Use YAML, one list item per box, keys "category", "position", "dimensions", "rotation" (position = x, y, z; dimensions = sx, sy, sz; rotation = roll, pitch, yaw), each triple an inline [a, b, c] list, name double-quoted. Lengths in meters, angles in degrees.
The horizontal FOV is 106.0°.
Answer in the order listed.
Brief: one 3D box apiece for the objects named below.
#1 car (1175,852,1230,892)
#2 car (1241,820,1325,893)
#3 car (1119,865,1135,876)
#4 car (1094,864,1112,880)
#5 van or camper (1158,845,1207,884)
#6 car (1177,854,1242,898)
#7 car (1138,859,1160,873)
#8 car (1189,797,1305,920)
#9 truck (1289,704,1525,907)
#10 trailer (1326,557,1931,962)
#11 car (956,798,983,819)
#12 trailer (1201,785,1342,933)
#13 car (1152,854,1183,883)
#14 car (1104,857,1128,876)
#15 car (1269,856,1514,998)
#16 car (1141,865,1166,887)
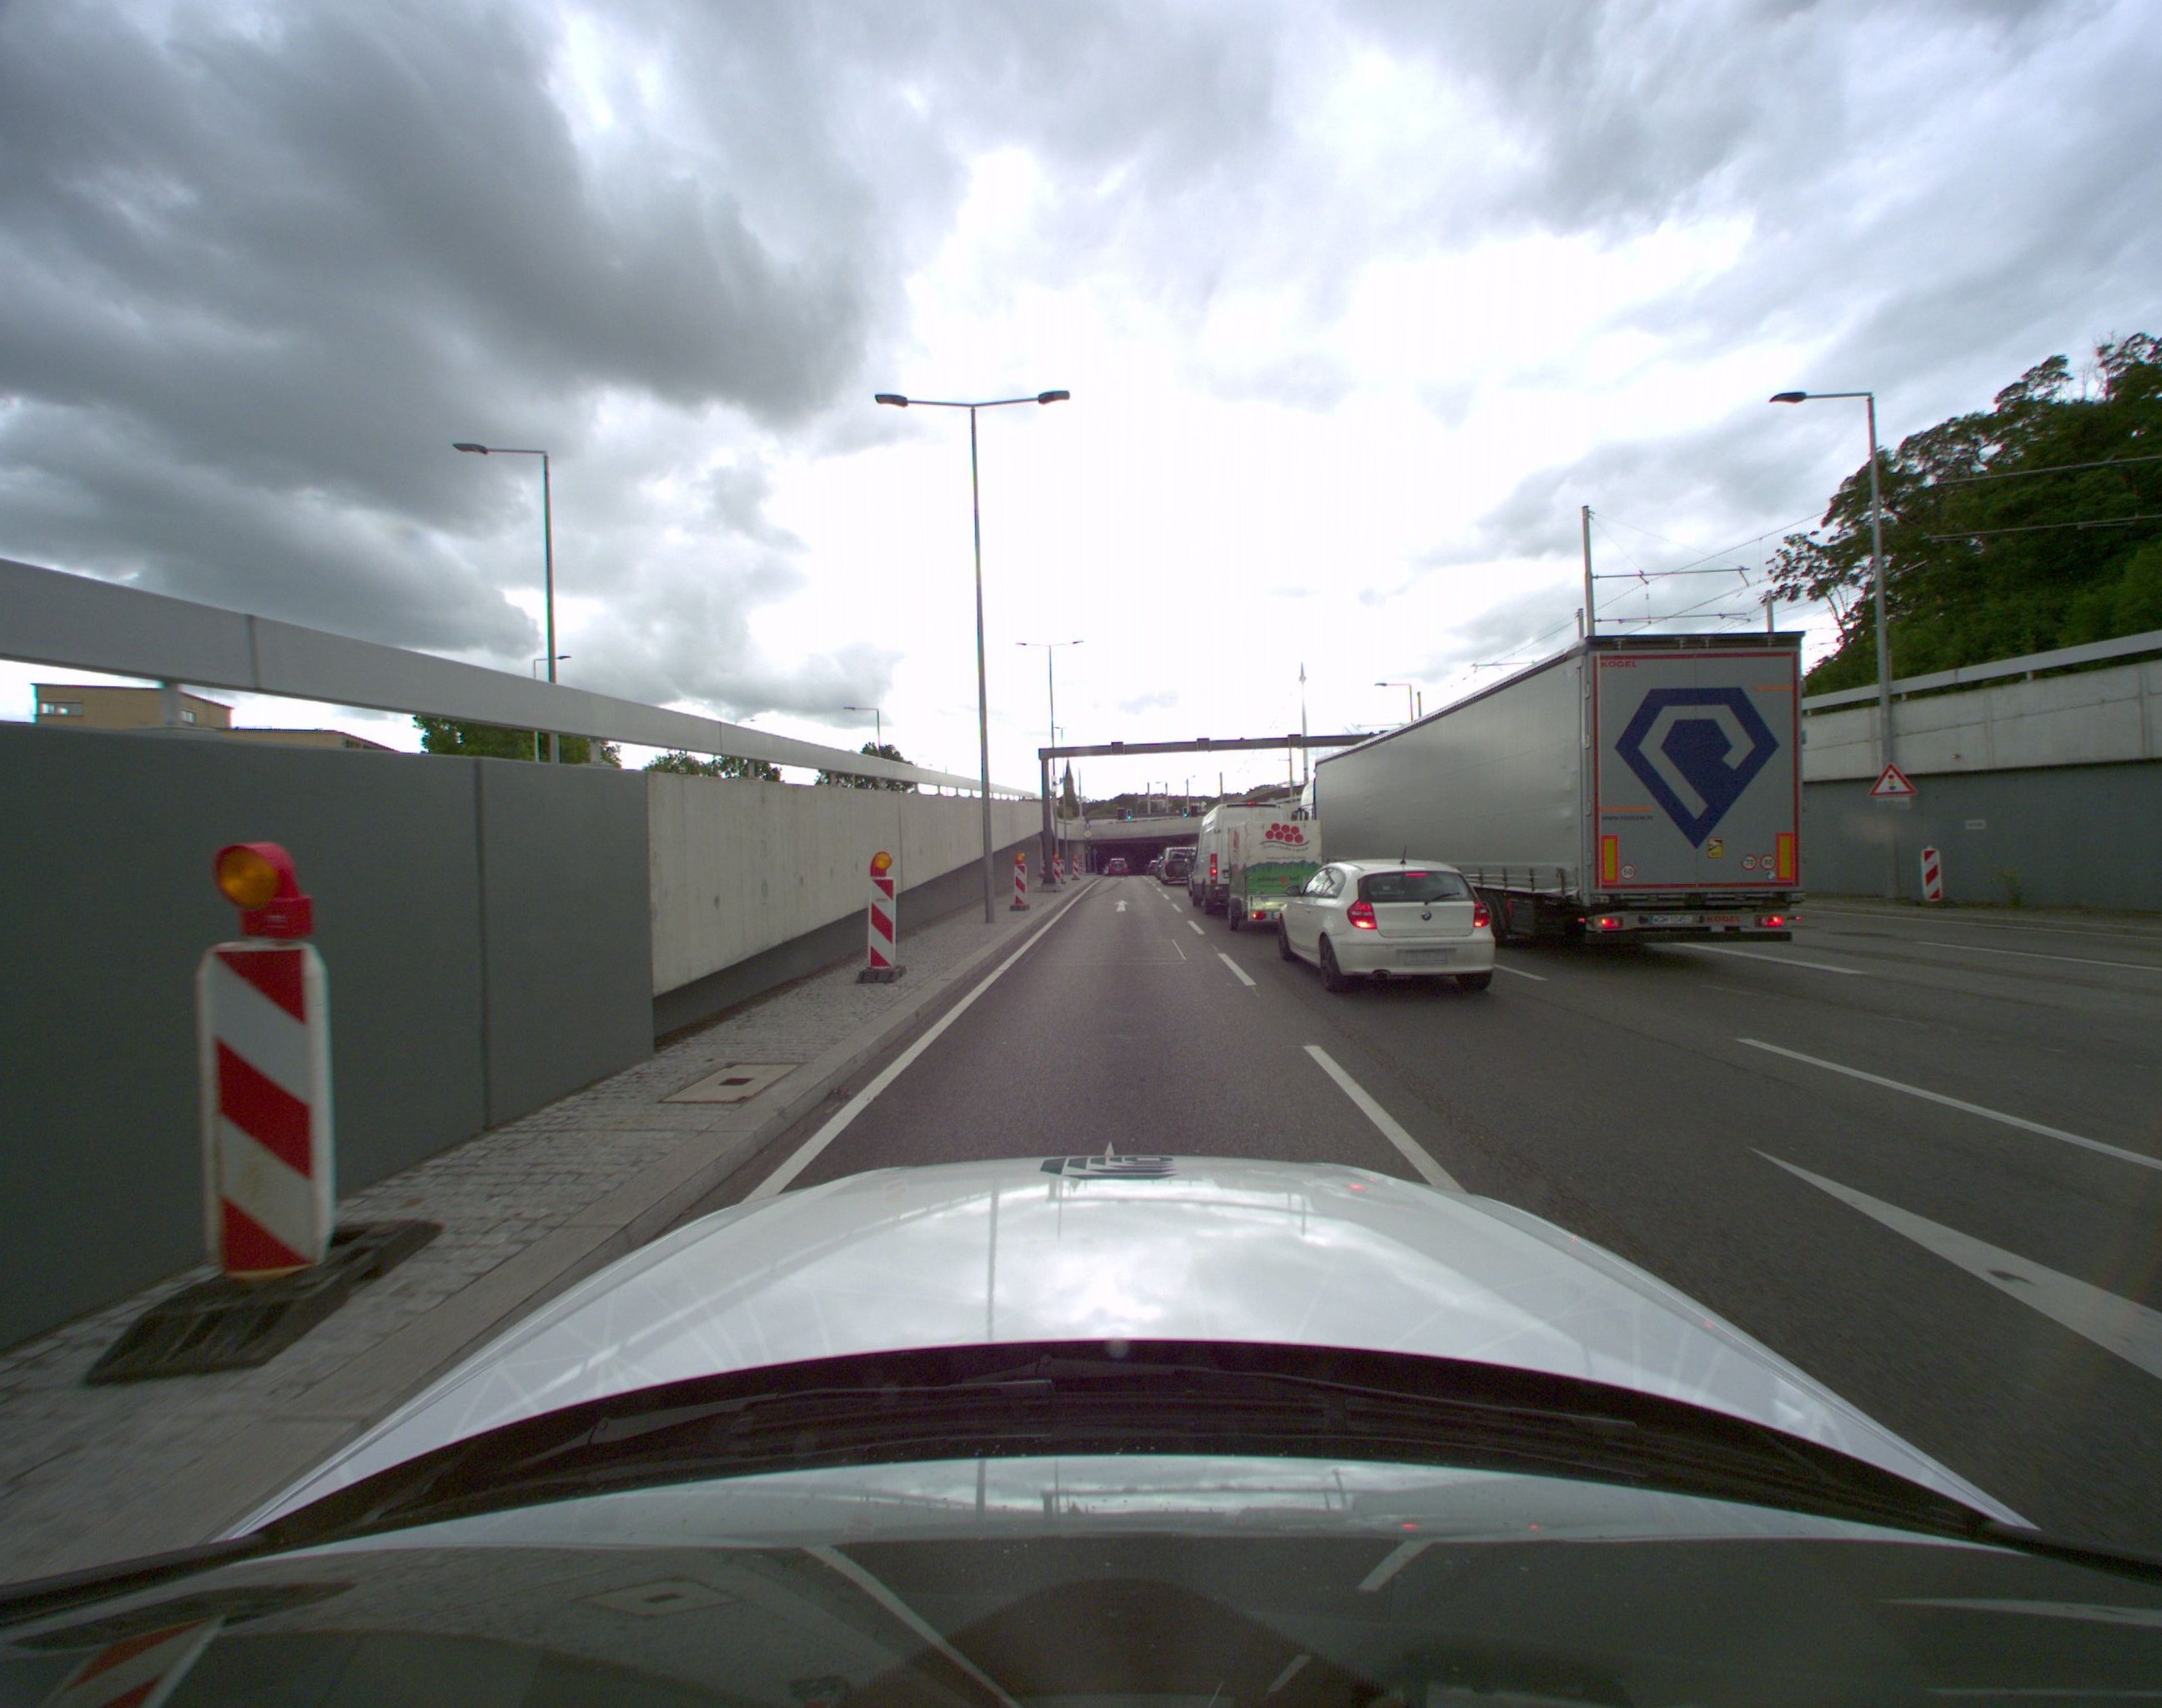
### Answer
- category: "car"
  position: [4.984, 0.688, 33.768]
  dimensions: [1.677, 1.545, 3.691]
  rotation: [0, 0, -2]
- category: "car"
  position: [8.600, 0.065, 35.452]
  dimensions: [2.067, 2.773, 7.331]
  rotation: [-2, 0, 2]
- category: "car"
  position: [6.765, 2.429, 119.355]
  dimensions: [1.989, 1.387, 3.996]
  rotation: [-1, 0, -2]
- category: "car"
  position: [2.827, 2.285, 104.744]
  dimensions: [1.989, 2.013, 3.996]
  rotation: [-1, 0, -3]
- category: "van or camper"
  position: [5.059, 0.492, 41.272]
  dimensions: [1.986, 1.845, 5.510]
  rotation: [-1, 0, 2]
- category: "car"
  position: [4.439, 0.742, 28.693]
  dimensions: [1.757, 1.383, 4.040]
  rotation: [-2, -1, 2]
- category: "car"
  position: [6.310, 1.139, 75.859]
  dimensions: [1.658, 1.247, 3.566]
  rotation: [-2, -2, 0]
- category: "car"
  position: [4.039, 0.118, 20.882]
  dimensions: [2.049, 2.628, 5.948]
  rotation: [2, 0, 4]
- category: "truck"
  position: [8.427, -1.131, 22.419]
  dimensions: [3.790, 4.631, 7.447]
  rotation: [0, 0, 2]
- category: "trailer"
  position: [8.110, -1.100, 15.440]
  dimensions: [3.789, 4.631, 12.122]
  rotation: [0, 0, 3]
- category: "car"
  position: [-9.012, -3.638, 66.005]
  dimensions: [1.738, 1.432, 3.774]
  rotation: [2, 0, -1]
- category: "trailer"
  position: [3.812, 0.100, 17.240]
  dimensions: [2.094, 2.639, 4.814]
  rotation: [2, 0, 4]
- category: "car"
  position: [5.493, 0.872, 51.800]
  dimensions: [1.810, 1.684, 4.005]
  rotation: [0, 1, 4]
- category: "car"
  position: [3.022, 1.082, 70.234]
  dimensions: [1.657, 1.488, 3.562]
  rotation: [-2, -2, -4]
- category: "car"
  position: [3.574, 0.723, 10.246]
  dimensions: [1.708, 1.398, 4.352]
  rotation: [0, 0, 4]
- category: "car"
  position: [5.618, 1.706, 63.390]
  dimensions: [1.811, 1.580, 4.004]
  rotation: [2, 0, 4]
